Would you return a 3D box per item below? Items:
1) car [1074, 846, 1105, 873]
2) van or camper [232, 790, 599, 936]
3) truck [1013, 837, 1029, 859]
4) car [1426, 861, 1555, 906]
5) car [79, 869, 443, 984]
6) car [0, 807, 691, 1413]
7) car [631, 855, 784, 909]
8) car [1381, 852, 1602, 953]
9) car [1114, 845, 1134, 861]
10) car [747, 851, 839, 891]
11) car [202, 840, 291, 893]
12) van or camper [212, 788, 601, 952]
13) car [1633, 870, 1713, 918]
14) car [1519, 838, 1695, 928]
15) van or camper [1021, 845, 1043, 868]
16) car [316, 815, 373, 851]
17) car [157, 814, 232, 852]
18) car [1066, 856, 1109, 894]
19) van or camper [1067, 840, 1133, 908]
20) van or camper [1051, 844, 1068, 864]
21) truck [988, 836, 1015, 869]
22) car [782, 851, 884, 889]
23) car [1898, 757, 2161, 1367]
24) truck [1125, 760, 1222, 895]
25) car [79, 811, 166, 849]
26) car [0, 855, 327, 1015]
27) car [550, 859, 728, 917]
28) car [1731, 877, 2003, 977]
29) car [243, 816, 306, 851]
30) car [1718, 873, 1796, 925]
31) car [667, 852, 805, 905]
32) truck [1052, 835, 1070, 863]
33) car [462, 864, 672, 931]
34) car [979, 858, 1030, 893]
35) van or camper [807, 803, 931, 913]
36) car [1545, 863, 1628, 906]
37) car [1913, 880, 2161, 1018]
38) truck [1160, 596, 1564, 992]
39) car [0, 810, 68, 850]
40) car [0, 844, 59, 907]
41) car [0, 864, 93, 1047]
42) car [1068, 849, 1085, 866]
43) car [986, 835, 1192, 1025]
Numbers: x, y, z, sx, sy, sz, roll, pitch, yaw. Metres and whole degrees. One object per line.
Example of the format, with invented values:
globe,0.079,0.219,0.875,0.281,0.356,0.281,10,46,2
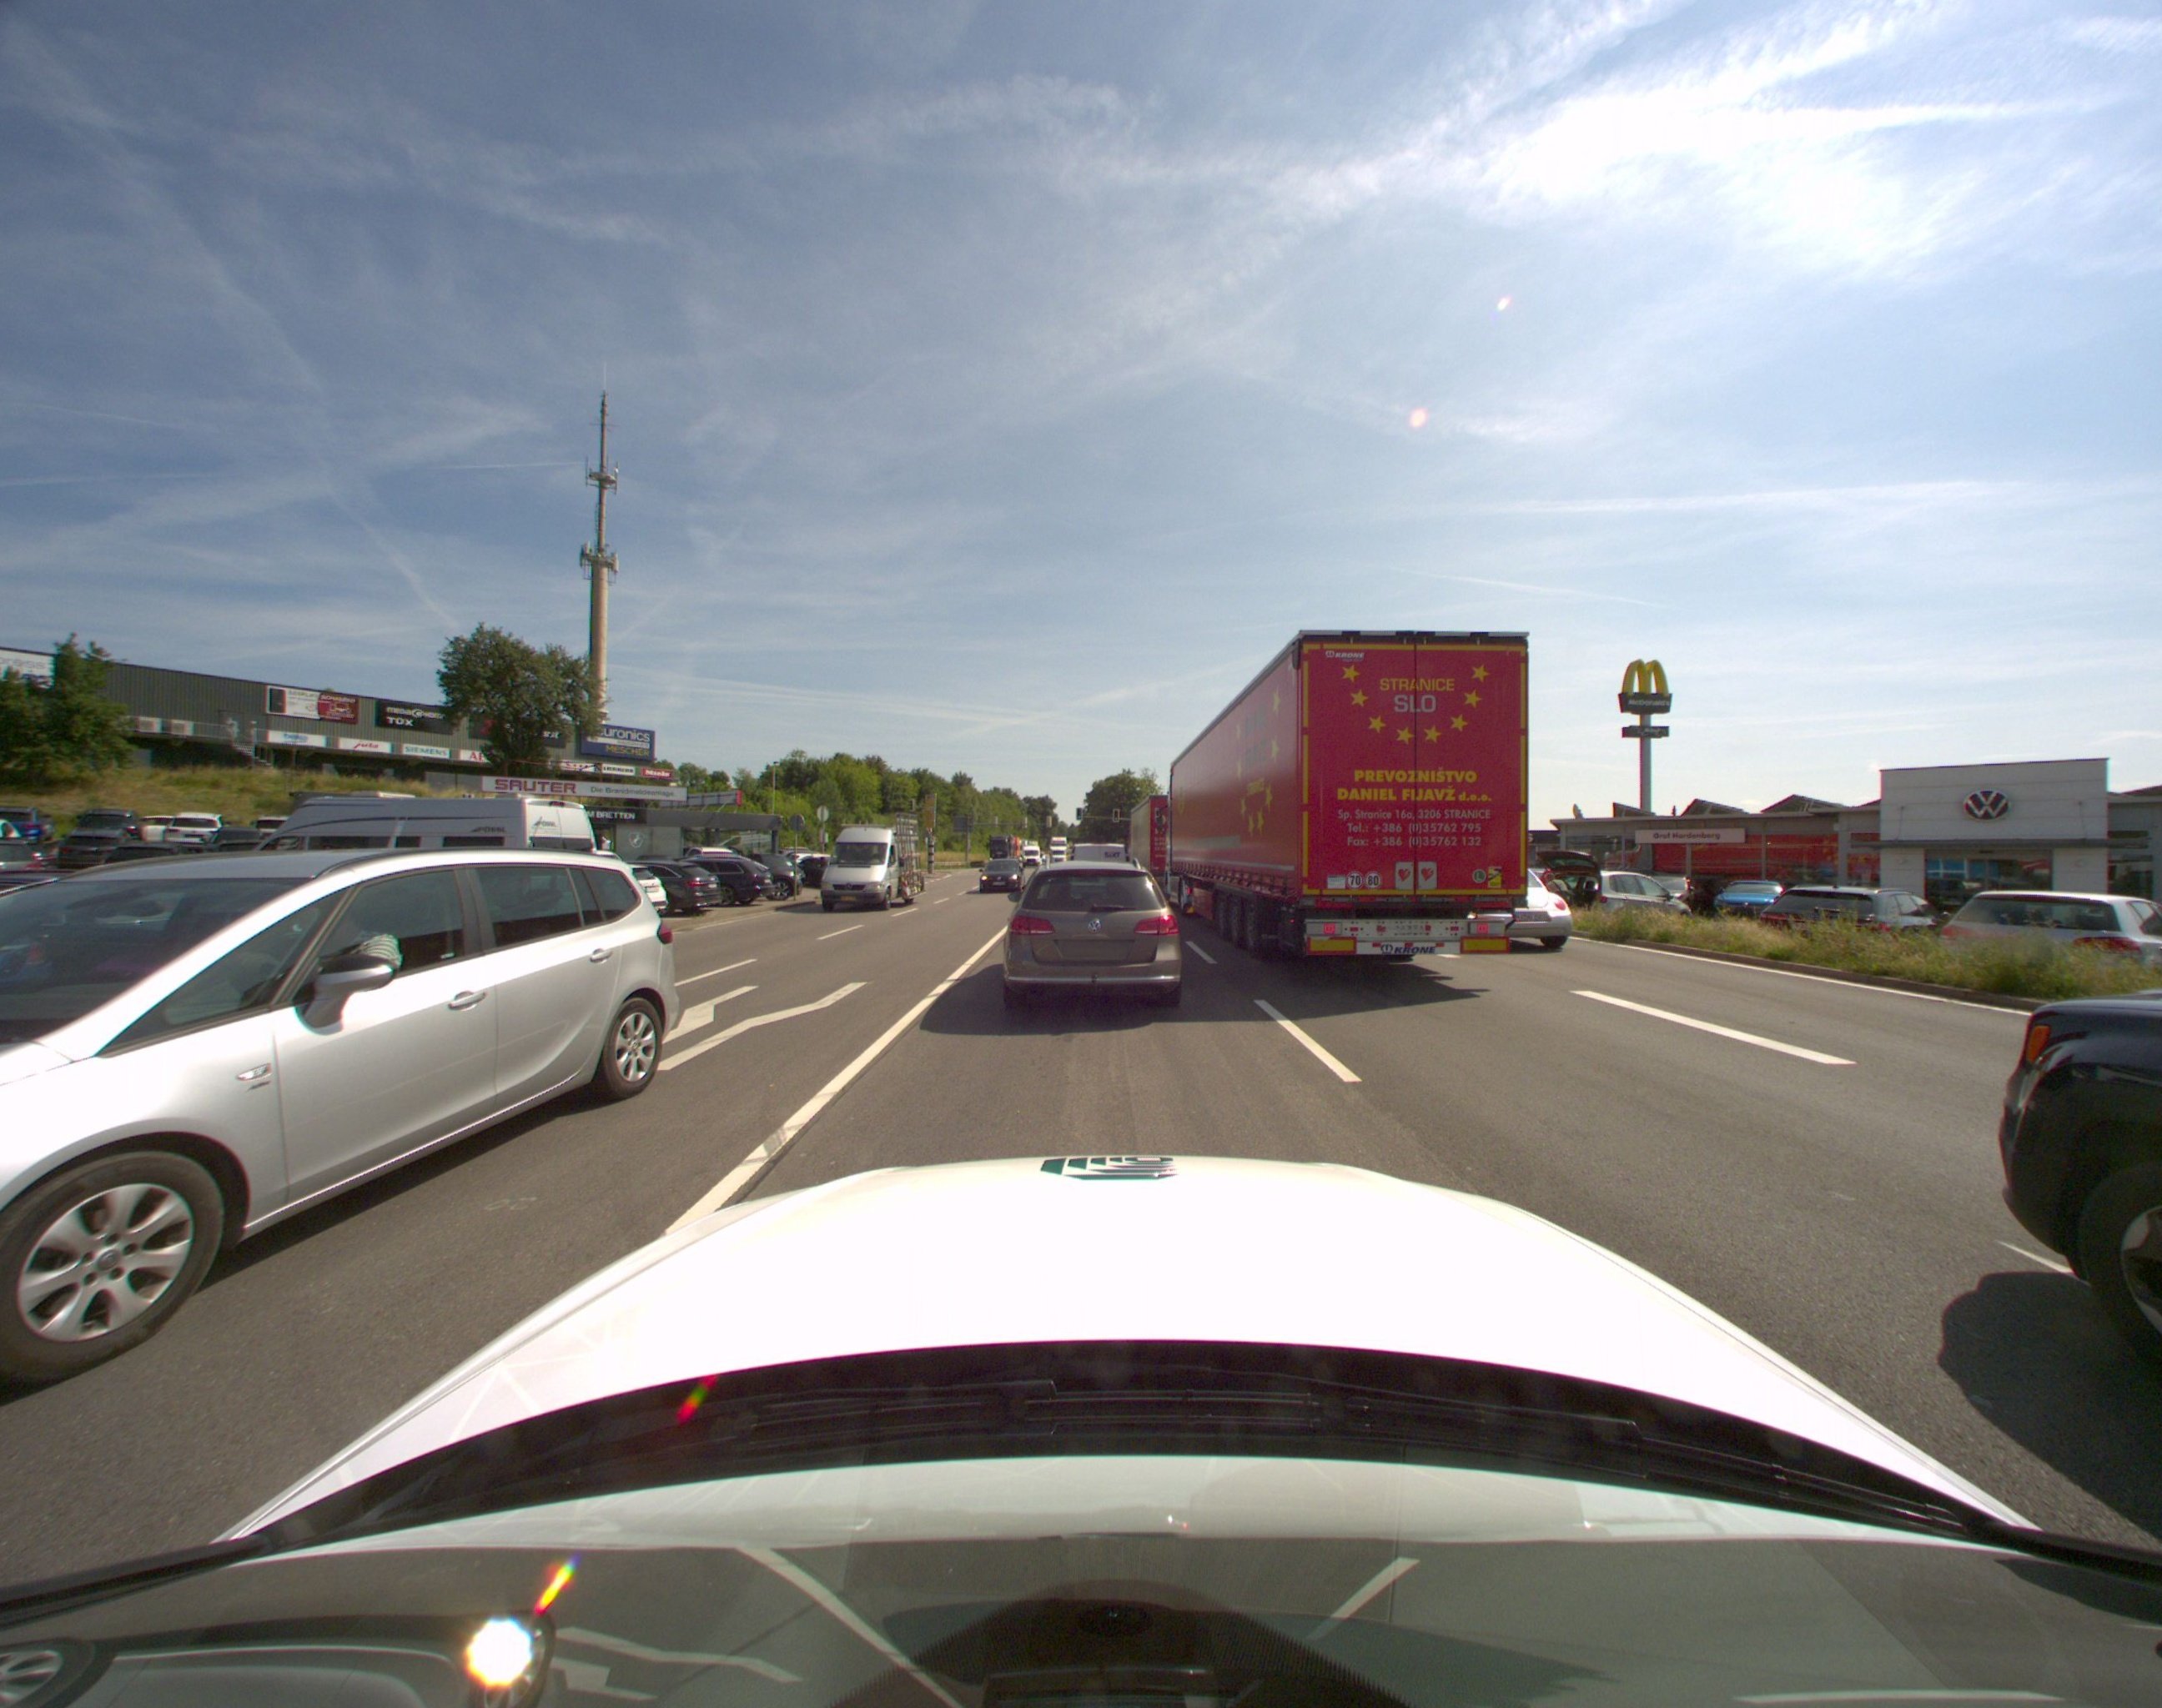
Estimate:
car,0.543,0.326,48.270,1.719,1.519,3.315,0,-1,3
van or camper,-13.814,0.167,17.210,5.870,2.873,2.290,0,0,1
truck,-10.443,-1.018,141.722,2.528,3.786,6.981,-2,0,-3
car,15.422,1.050,30.851,2.005,1.531,3.964,0,0,-28
car,-12.004,1.012,12.116,3.581,1.480,1.813,-1,0,1
car,-3.884,0.734,3.843,1.902,1.663,4.182,-2,0,2
car,-11.376,0.816,24.981,3.805,1.539,1.842,-1,0,-1
car,6.861,0.722,14.133,1.655,1.472,3.996,-1,0,-3
car,4.072,-0.066,77.693,1.721,1.519,3.311,0,-1,0
car,-13.051,0.751,36.855,3.780,1.693,1.854,-1,0,30
car,-27.265,0.386,26.570,3.780,1.588,1.780,-1,0,40
van or camper,-11.950,0.274,14.732,5.225,2.731,2.211,0,0,1
car,21.575,1.385,29.616,1.781,1.531,4.252,0,0,44
car,12.351,0.623,19.121,3.852,1.921,1.689,0,0,-25
van or camper,-5.507,0.297,92.201,2.166,2.551,4.170,0,0,0
car,-32.526,-0.879,36.044,1.745,1.450,3.705,1,-1,-40
car,-38.752,-0.862,35.676,1.745,1.537,3.705,1,-1,-40
car,0.310,0.842,33.860,1.720,1.519,3.313,0,-1,2
van or camper,0.535,0.556,24.673,1.846,1.906,3.784,0,0,0
van or camper,-2.988,0.018,115.239,2.216,2.841,5.710,0,-1,0
truck,-9.689,-0.160,99.927,2.807,3.786,6.981,-2,0,-3
car,-11.748,0.752,38.558,4.470,1.693,2.145,-1,0,31
car,3.845,0.561,0.957,1.812,1.685,4.001,-1,0,1
truck,4.037,-1.050,40.056,3.052,5.220,17.007,0,0,1
car,-40.176,-0.949,34.220,1.745,1.450,3.705,1,-1,-40
car,-11.473,0.863,9.447,3.697,1.484,1.707,3,0,-1
car,-11.938,0.884,22.175,3.805,1.448,1.842,-1,0,-1
car,13.028,1.123,13.535,3.844,1.399,1.692,0,0,-18
car,-36.796,-0.904,37.253,1.745,1.450,3.705,1,-1,-40
car,23.049,1.460,27.738,3.808,1.557,1.681,0,0,-45
car,-11.484,0.785,27.316,3.805,1.675,1.842,-1,0,-1
truck,-3.175,-0.762,130.033,2.544,4.307,7.595,-2,0,0
car,-12.168,0.996,19.482,3.805,1.448,1.842,-1,0,-1
car,-3.307,0.903,35.823,1.660,1.409,3.928,-2,0,2
van or camper,-6.462,0.118,25.705,2.199,3.056,5.904,0,0,2
car,19.811,1.133,31.866,1.975,1.531,4.024,0,0,44
car,12.731,1.080,10.389,3.850,1.399,1.690,0,0,-23
truck,3.832,-0.659,17.079,2.947,4.269,16.584,0,0,1
car,-42.045,-0.917,32.244,1.745,1.450,3.705,1,-1,-40
car,-28.960,0.571,20.844,3.795,1.588,1.773,-1,0,8
car,-11.272,0.874,6.870,3.697,1.555,1.707,1,1,-1
car,-0.517,0.453,92.676,1.719,1.909,3.315,0,-1,4
car,0.185,0.677,8.895,1.782,1.638,3.507,-1,0,4
